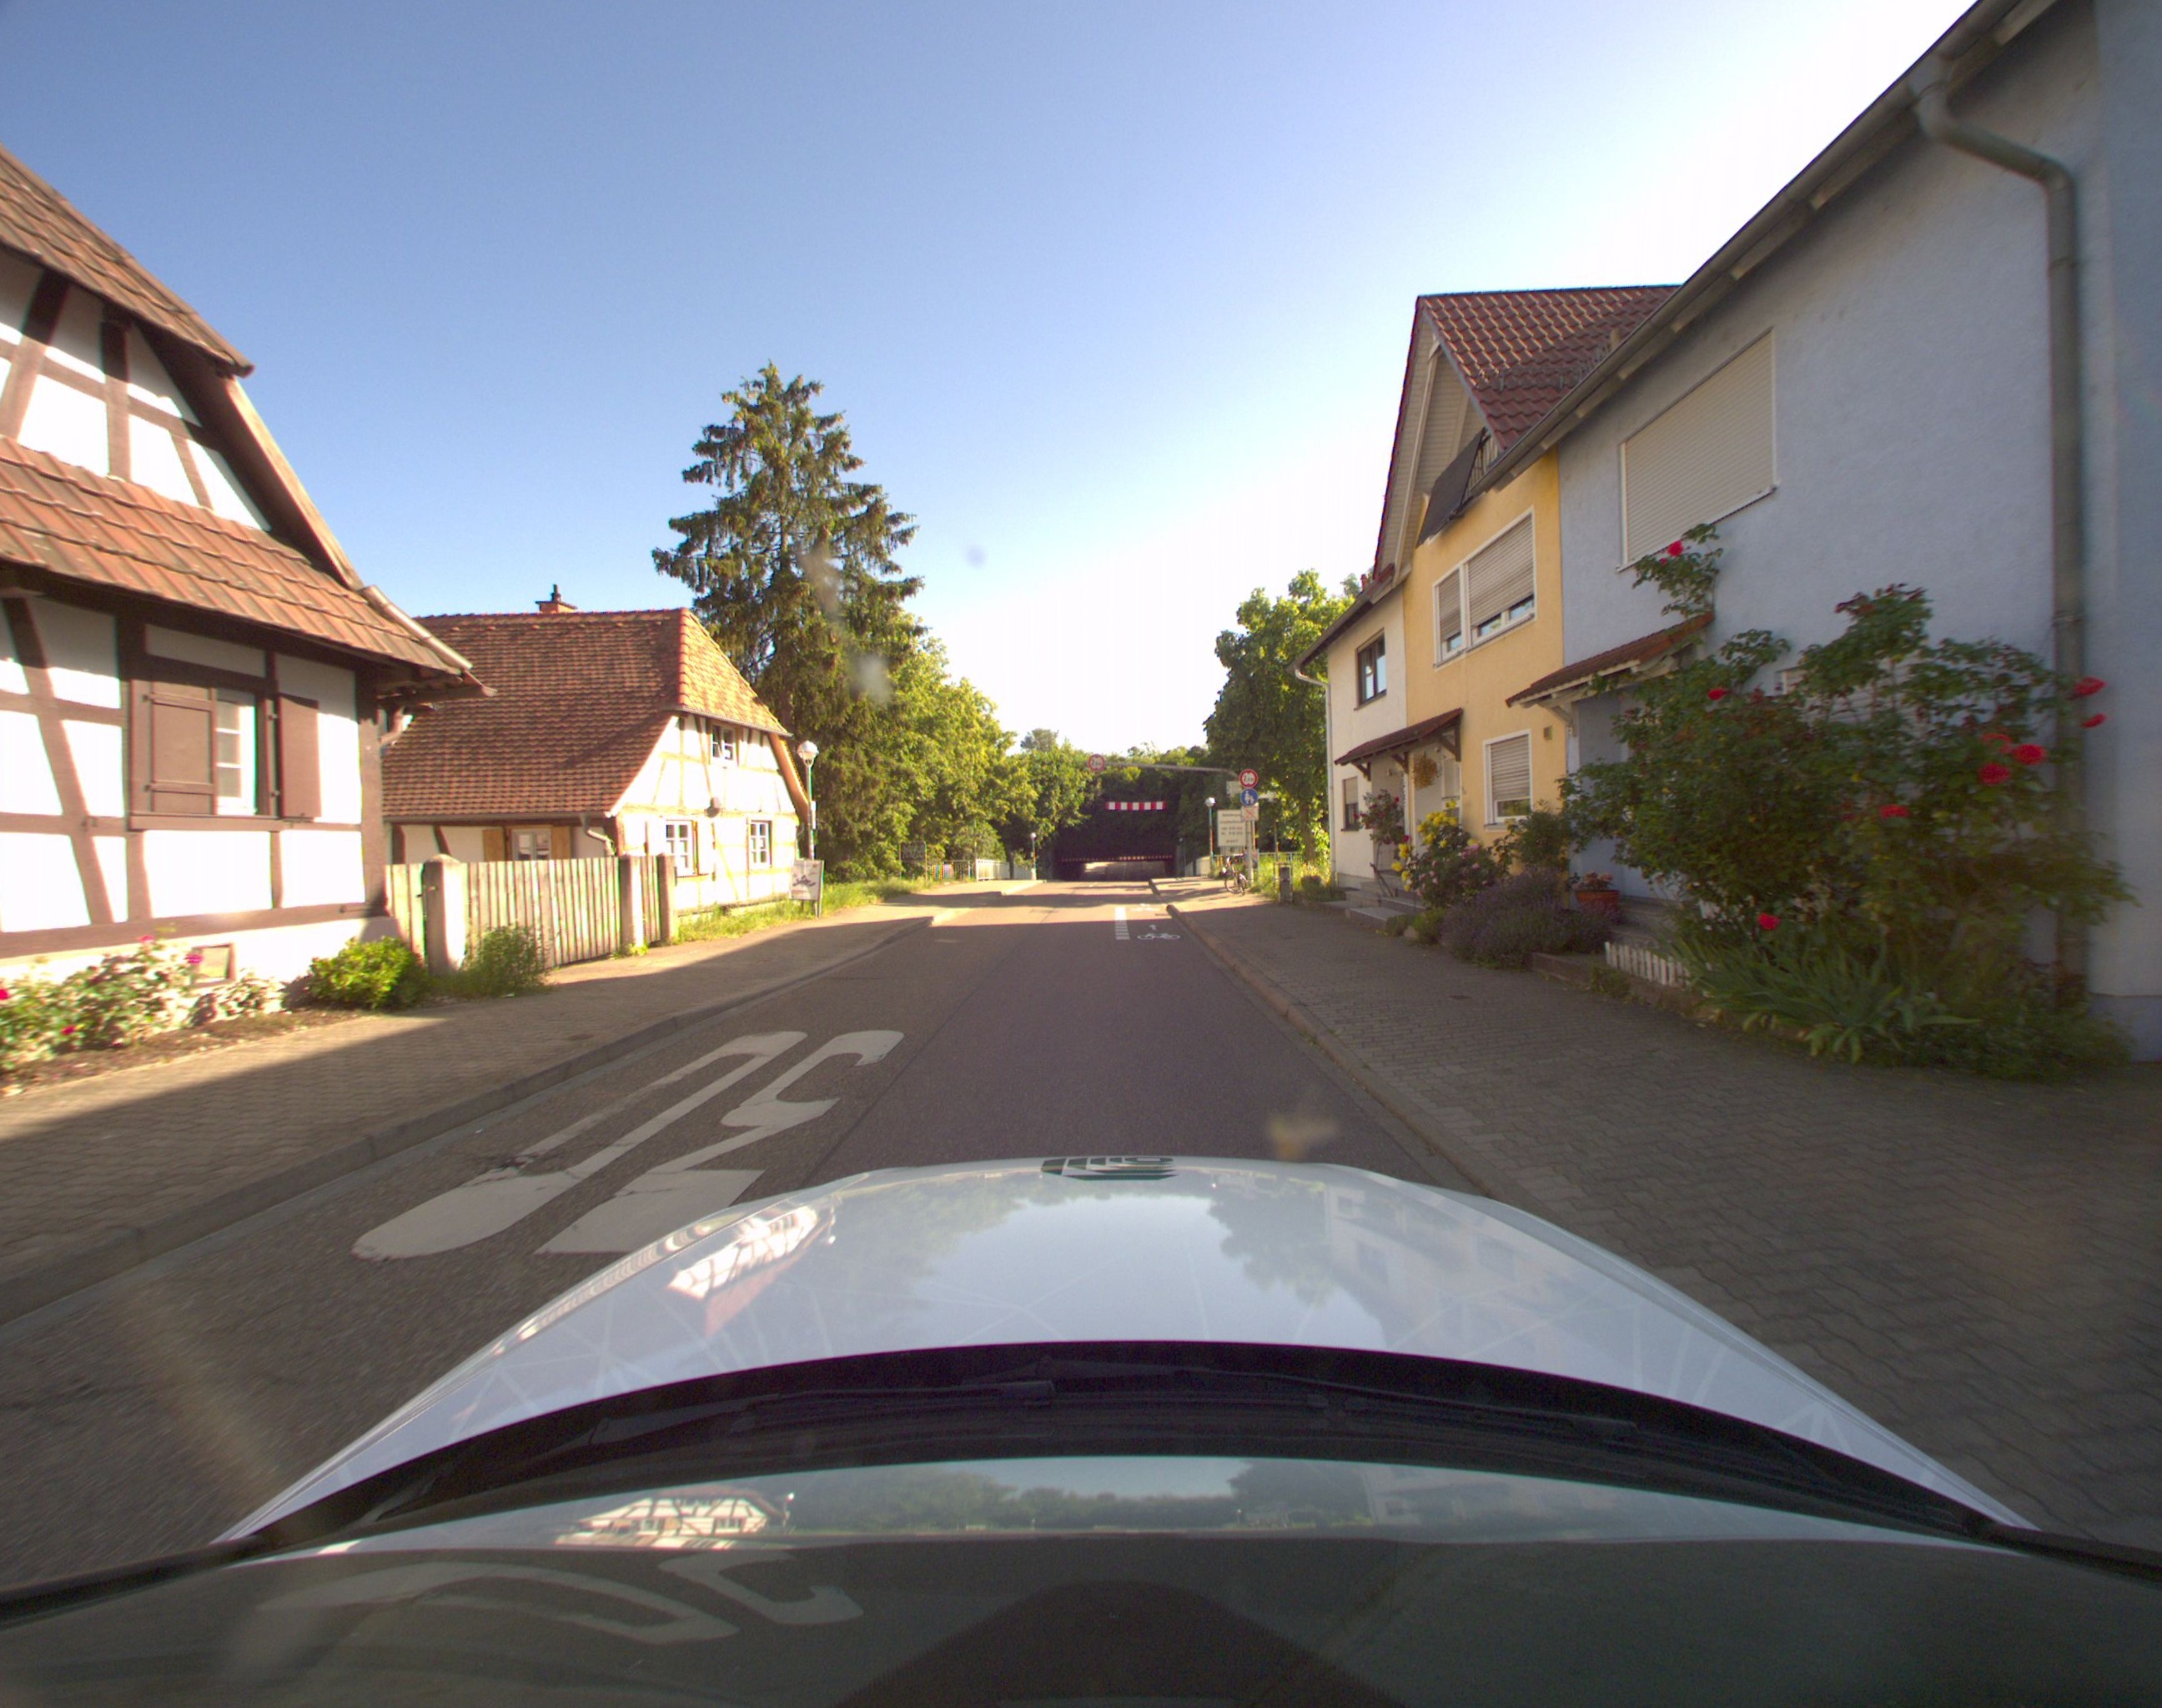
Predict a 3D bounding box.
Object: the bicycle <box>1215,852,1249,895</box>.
[{"bbox_3d":[4.432,0.561,24.024,0.686,1.157,1.540,-4,0,2],"label":"bicycle"}]
